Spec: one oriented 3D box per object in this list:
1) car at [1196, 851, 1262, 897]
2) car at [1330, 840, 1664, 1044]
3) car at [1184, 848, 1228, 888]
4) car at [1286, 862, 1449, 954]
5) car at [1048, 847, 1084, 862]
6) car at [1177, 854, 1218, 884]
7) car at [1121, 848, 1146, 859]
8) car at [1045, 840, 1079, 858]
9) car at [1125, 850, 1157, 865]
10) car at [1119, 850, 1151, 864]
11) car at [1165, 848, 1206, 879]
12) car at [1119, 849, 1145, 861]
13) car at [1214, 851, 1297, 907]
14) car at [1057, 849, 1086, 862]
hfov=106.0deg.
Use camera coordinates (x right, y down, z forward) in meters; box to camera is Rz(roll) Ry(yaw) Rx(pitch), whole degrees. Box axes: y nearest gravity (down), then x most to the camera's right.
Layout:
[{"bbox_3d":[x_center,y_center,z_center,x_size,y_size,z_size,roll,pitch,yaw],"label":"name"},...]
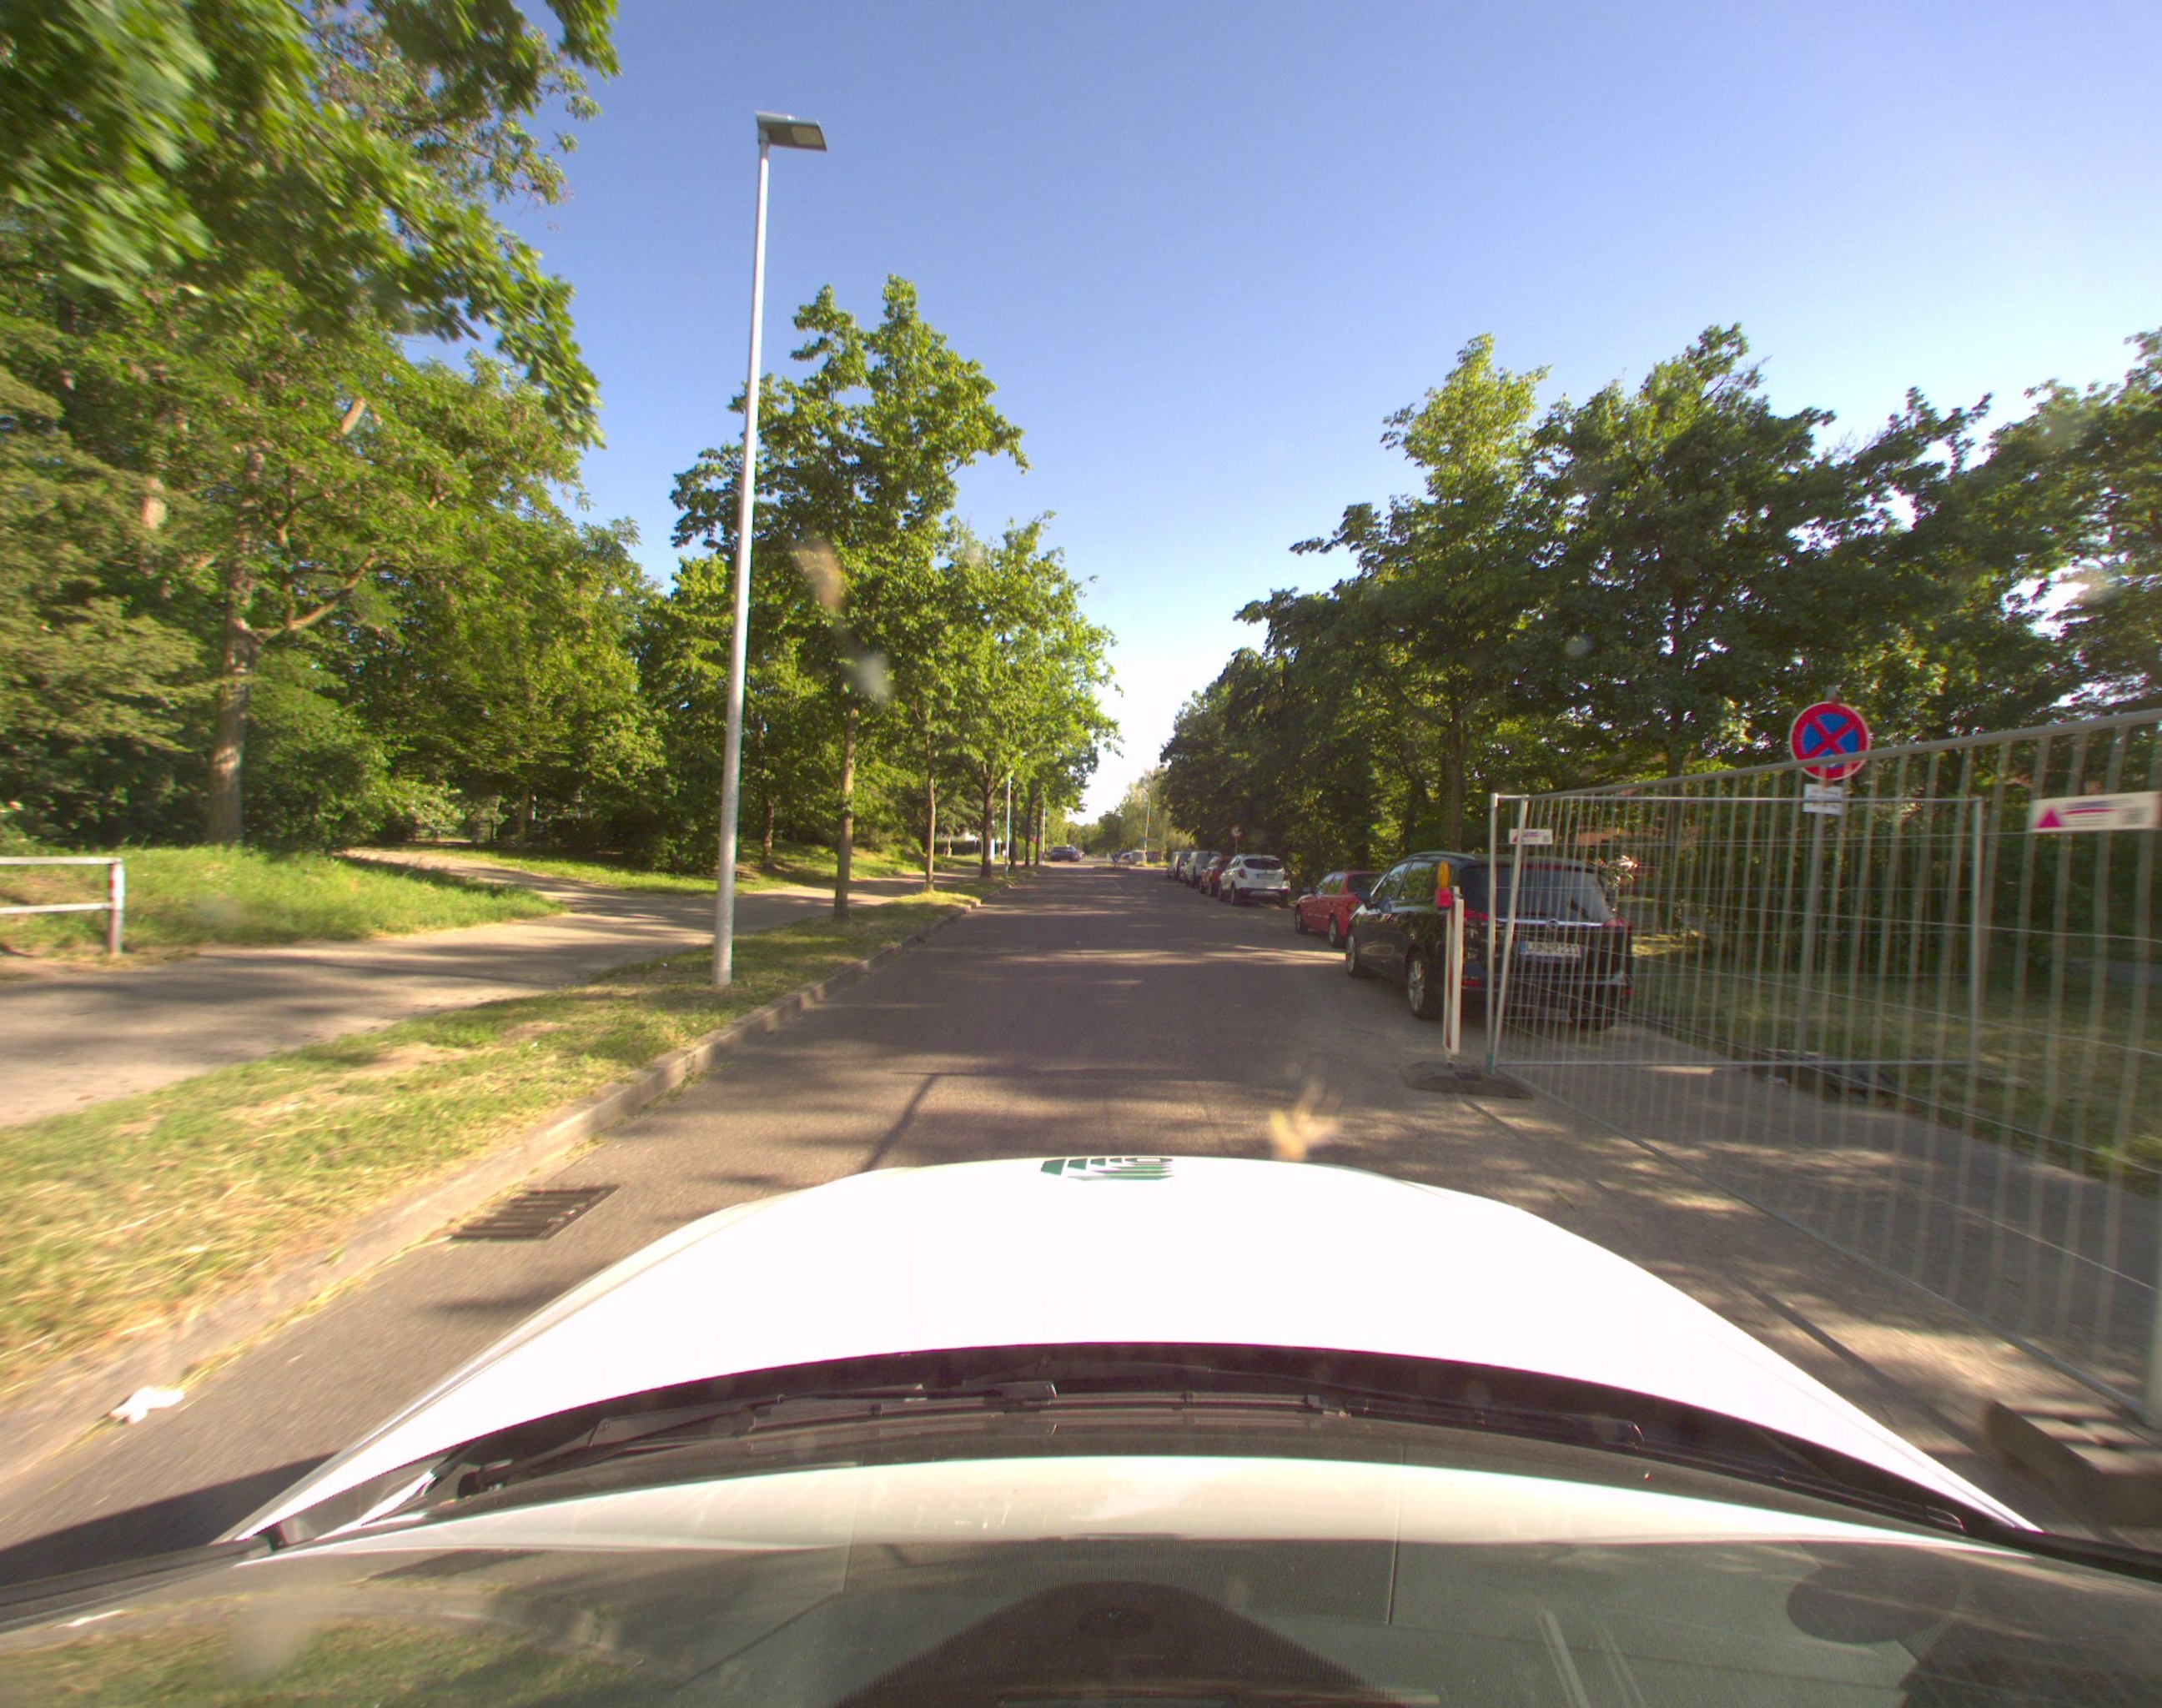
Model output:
[{"bbox_3d":[5.787,0.739,32.311,1.770,1.621,4.064,3,0,0],"label":"car"},{"bbox_3d":[4.270,0.760,9.276,1.801,1.651,4.427,3,0,5],"label":"car"},{"bbox_3d":[6.104,0.656,40.157,1.617,1.773,3.670,3,0,1],"label":"car"},{"bbox_3d":[5.301,0.920,15.650,1.656,1.375,4.155,3,0,1],"label":"car"},{"bbox_3d":[-1.888,0.061,105.406,4.295,1.576,2.050,3,0,7],"label":"car"},{"bbox_3d":[6.442,0.785,45.245,1.685,1.512,4.207,3,0,1],"label":"car"},{"bbox_3d":[8.344,-0.068,129.360,3.820,1.576,1.691,3,0,5],"label":"car"},{"bbox_3d":[-3.108,-0.828,130.675,5.190,2.621,2.290,3,0,-4],"label":"car"},{"bbox_3d":[7.449,0.471,100.795,3.818,1.576,1.692,3,0,7],"label":"car"},{"bbox_3d":[6.854,0.377,103.626,3.818,1.576,1.692,3,0,7],"label":"car"},{"bbox_3d":[6.551,0.551,51.392,1.786,1.785,4.553,3,0,-2],"label":"car"},{"bbox_3d":[7.855,0.147,126.233,3.818,1.576,1.692,3,0,7],"label":"car"},{"bbox_3d":[5.667,0.749,26.950,1.770,1.621,4.064,3,0,0],"label":"car"},{"bbox_3d":[-1.385,0.236,121.709,4.090,1.576,1.960,3,0,3],"label":"car"}]
